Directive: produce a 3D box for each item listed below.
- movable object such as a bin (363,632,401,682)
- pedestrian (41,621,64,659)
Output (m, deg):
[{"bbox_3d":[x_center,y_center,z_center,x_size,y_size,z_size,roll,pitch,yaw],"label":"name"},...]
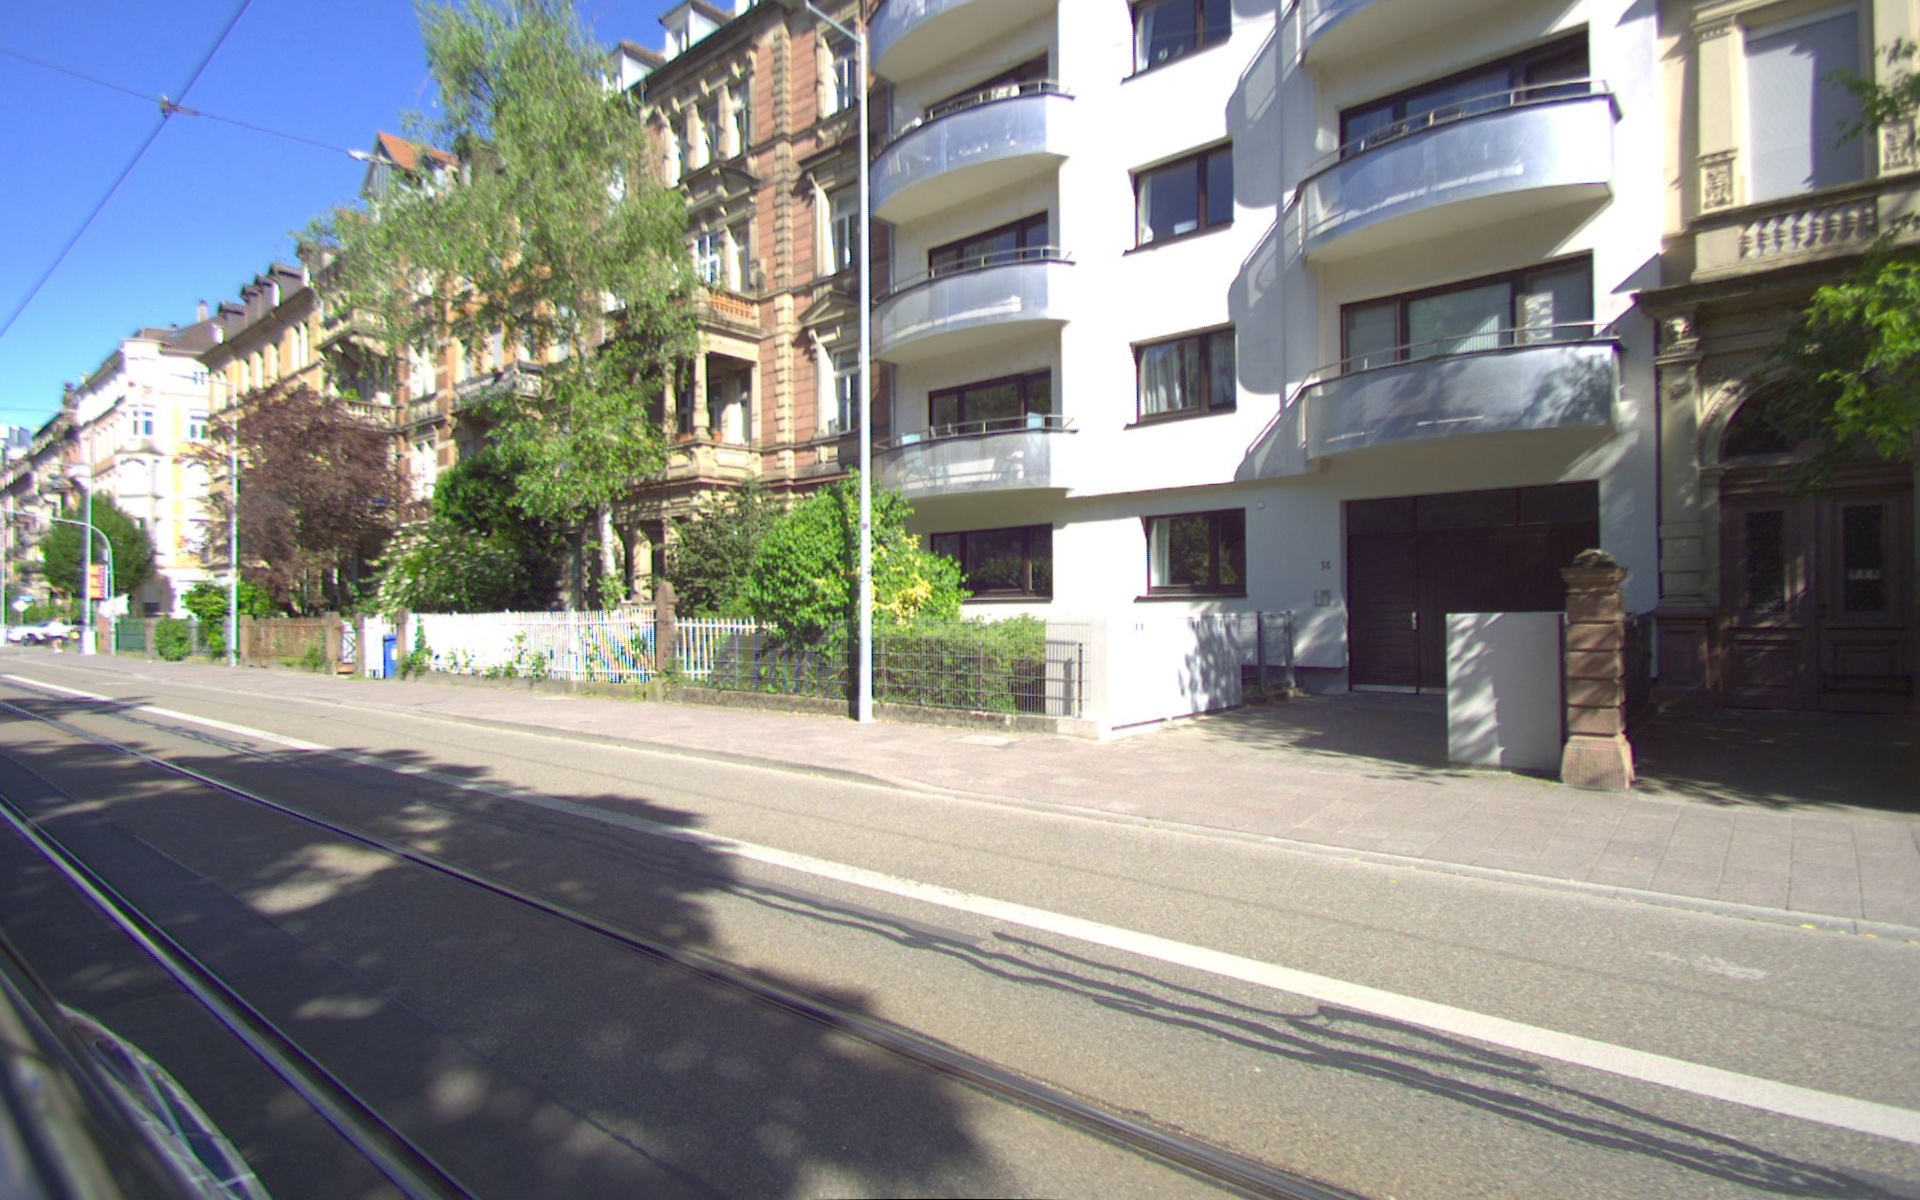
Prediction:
[{"bbox_3d":[-13.914,1.360,24.378,0.664,1.184,0.583,-2,-1,36],"label":"movable object such as a bin"},{"bbox_3d":[-45.071,1.966,50.262,0.798,1.850,0.755,0,-1,-41],"label":"pedestrian"}]
